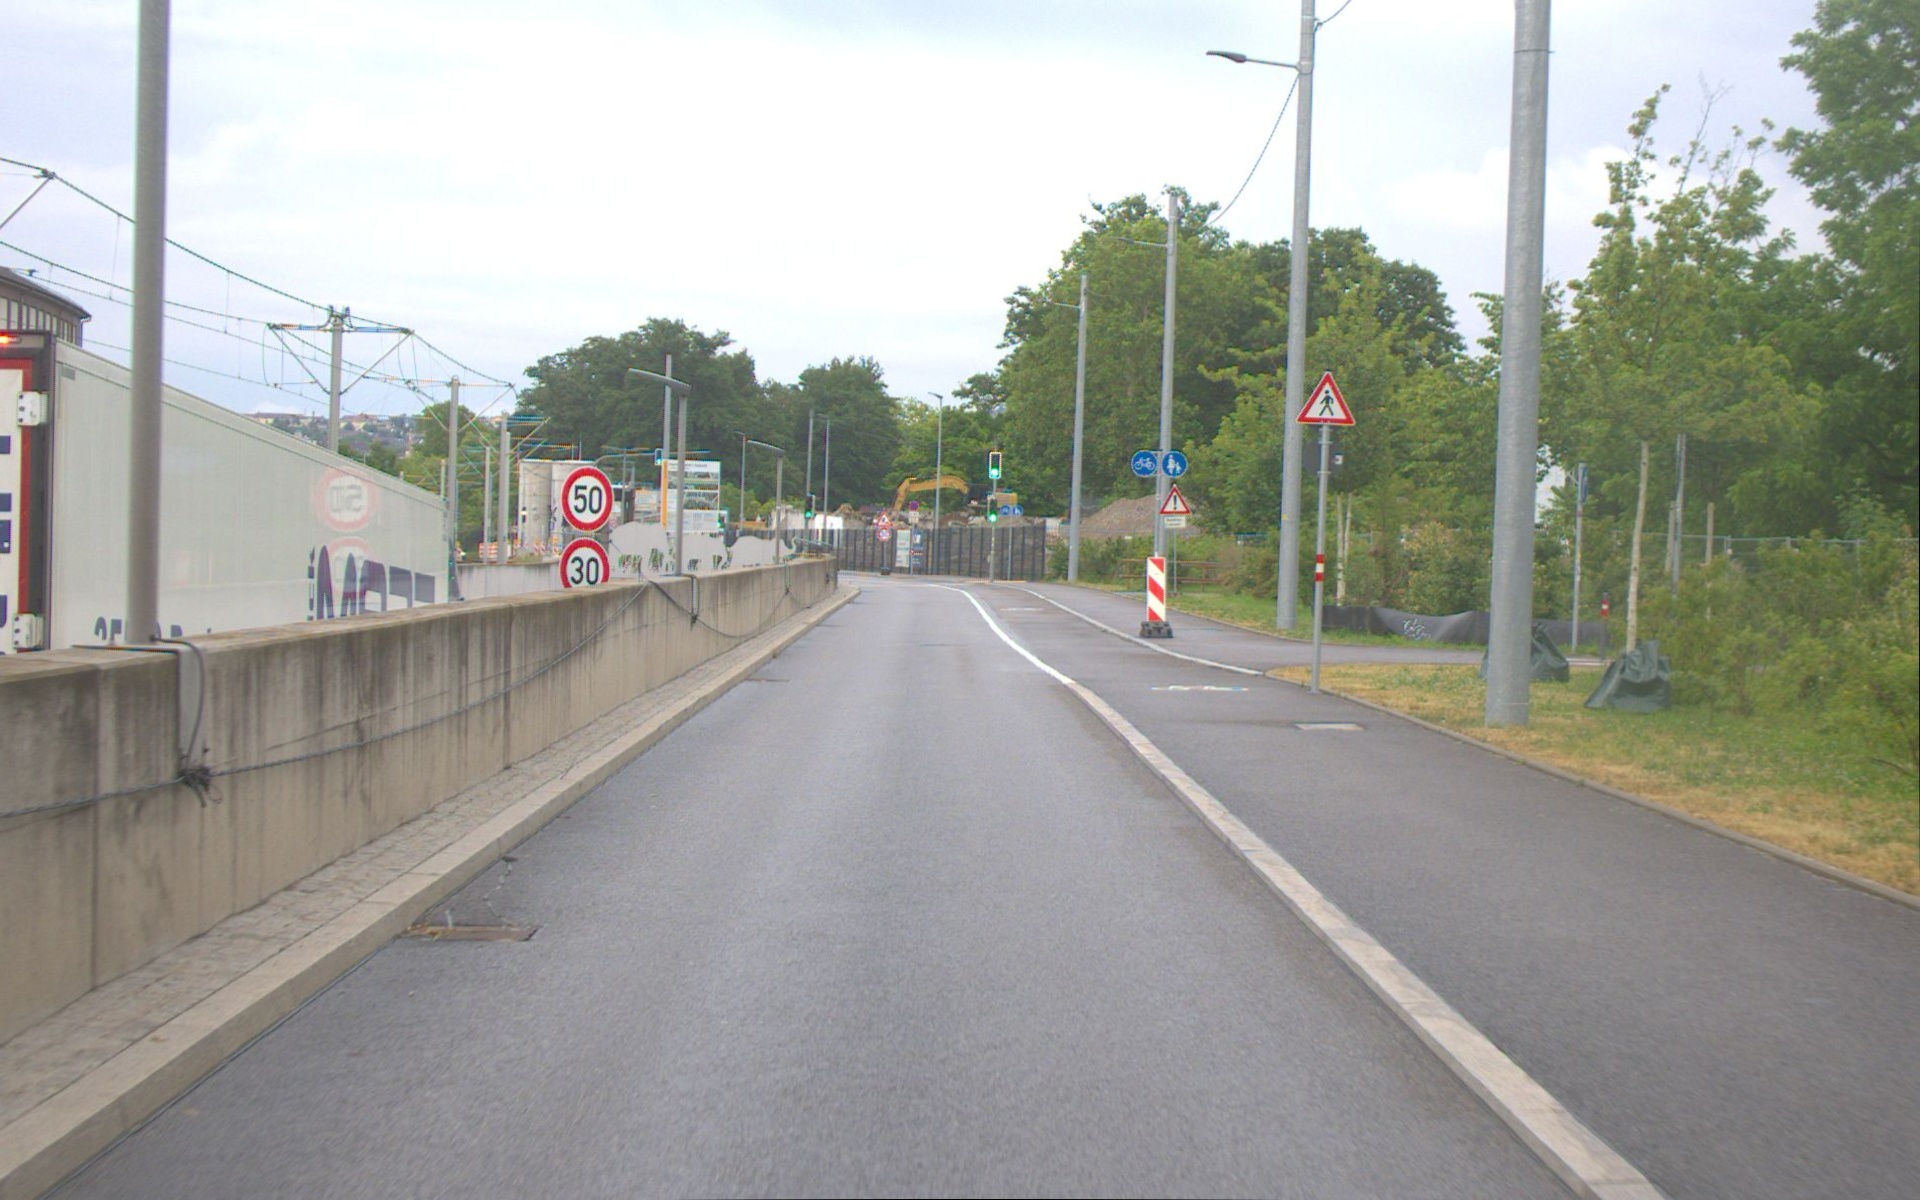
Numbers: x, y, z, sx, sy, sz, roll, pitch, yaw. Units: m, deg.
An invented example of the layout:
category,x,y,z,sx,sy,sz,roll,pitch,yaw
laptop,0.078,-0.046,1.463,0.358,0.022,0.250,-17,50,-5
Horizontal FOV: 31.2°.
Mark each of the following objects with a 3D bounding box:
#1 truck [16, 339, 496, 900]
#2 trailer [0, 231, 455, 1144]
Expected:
category,x,y,z,sx,sy,sz,roll,pitch,yaw
truck,-5.699,0.088,28.885,2.756,4.190,6.307,0,1,0
trailer,-5.658,0.276,22.543,2.762,4.238,13.184,0,1,0
